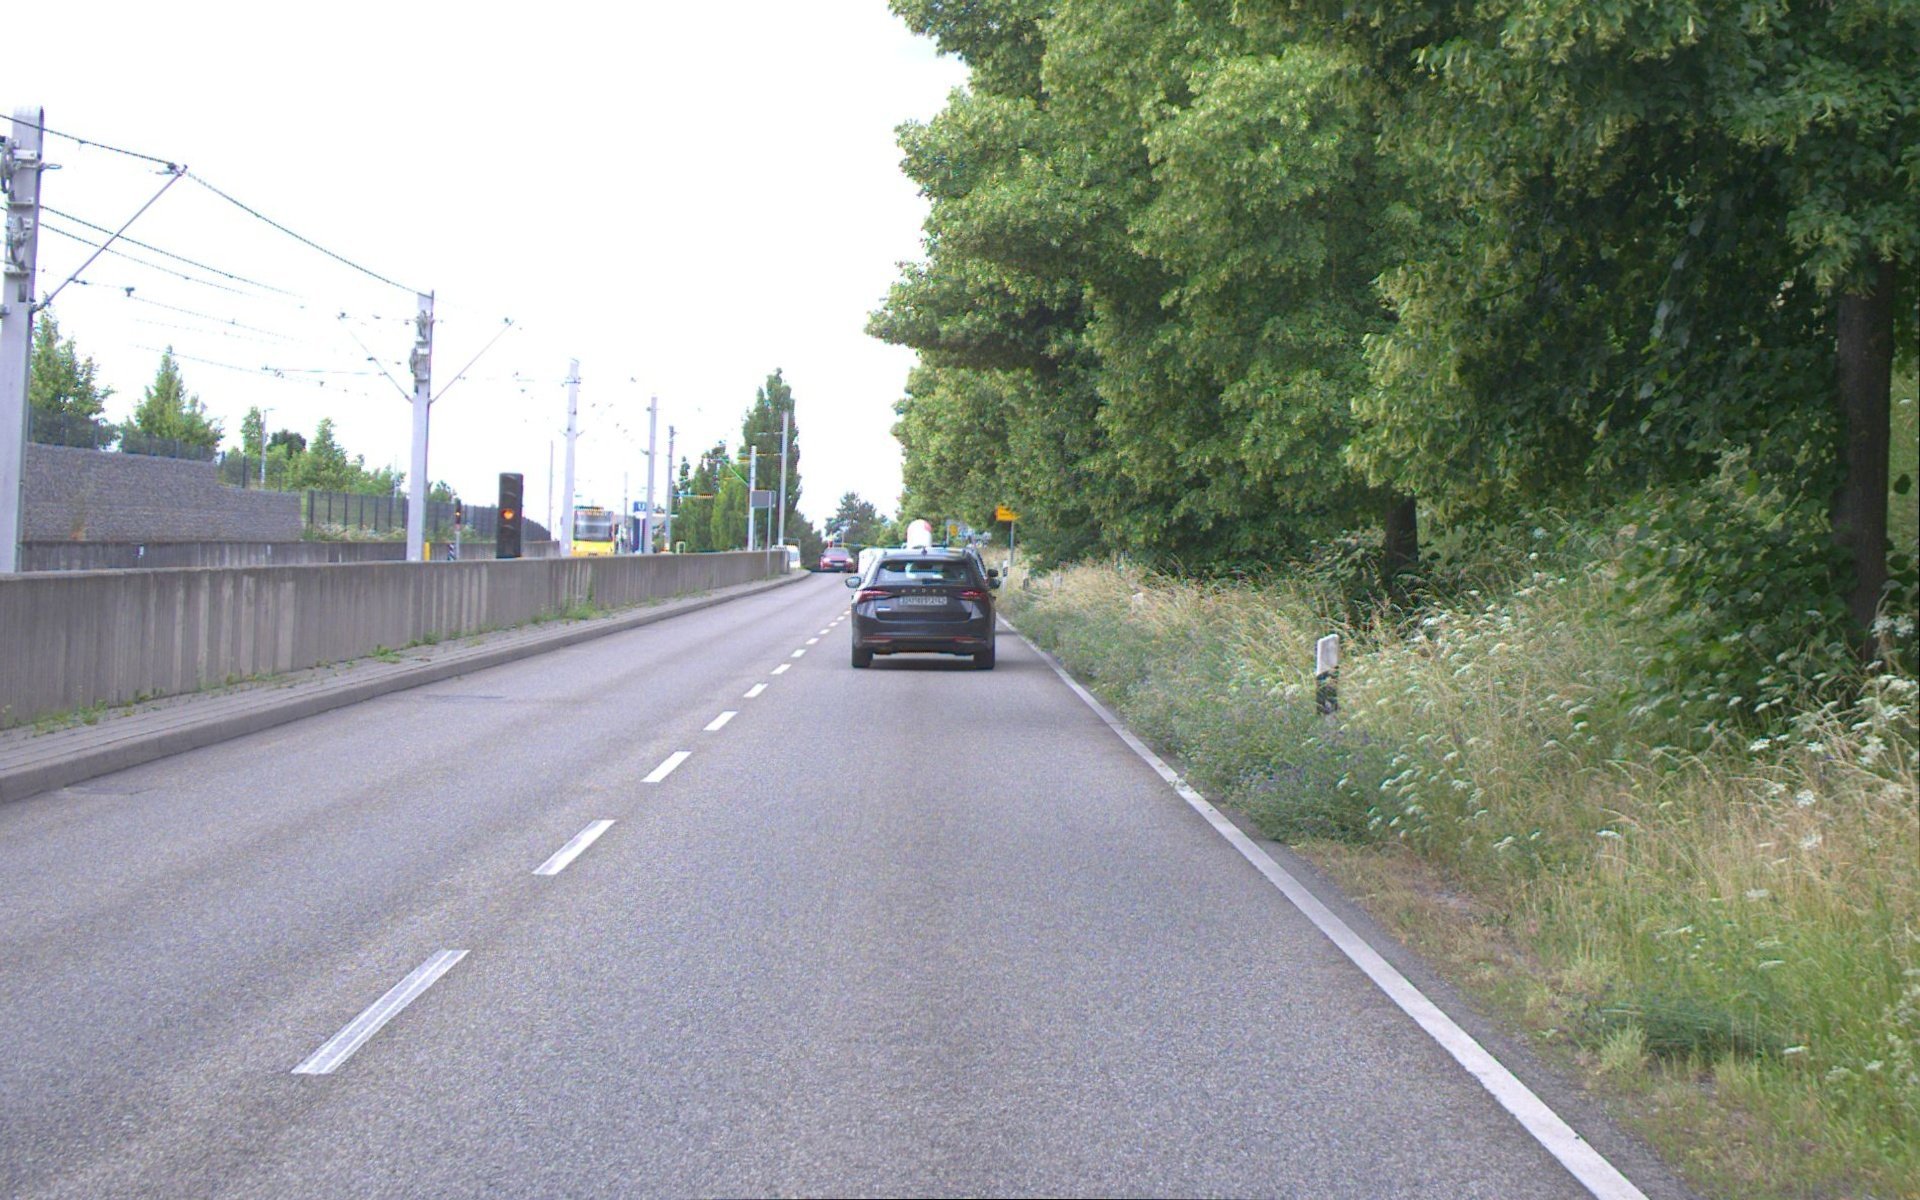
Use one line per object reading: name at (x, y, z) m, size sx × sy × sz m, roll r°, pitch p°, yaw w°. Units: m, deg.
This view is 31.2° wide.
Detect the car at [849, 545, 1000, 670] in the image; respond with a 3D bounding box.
car at (-0.437, 0.060, 42.868) m, size 1.781 × 1.463 × 4.000 m, roll 1°, pitch 1°, yaw 0°

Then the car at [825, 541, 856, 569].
car at (-6.753, -2.526, 194.067) m, size 1.662 × 1.540 × 3.953 m, roll 0°, pitch 1°, yaw -1°

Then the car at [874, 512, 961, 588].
car at (-1.004, -1.160, 81.857) m, size 1.993 × 1.734 × 4.000 m, roll 1°, pitch 0°, yaw 0°

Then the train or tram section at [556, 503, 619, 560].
train or tram section at (-22.554, -4.069, 207.398) m, size 2.811 × 3.106 × 18.920 m, roll 1°, pitch 0°, yaw -9°

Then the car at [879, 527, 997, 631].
car at (-0.386, -0.395, 60.572) m, size 1.993 × 1.747 × 4.000 m, roll 1°, pitch 1°, yaw 0°
